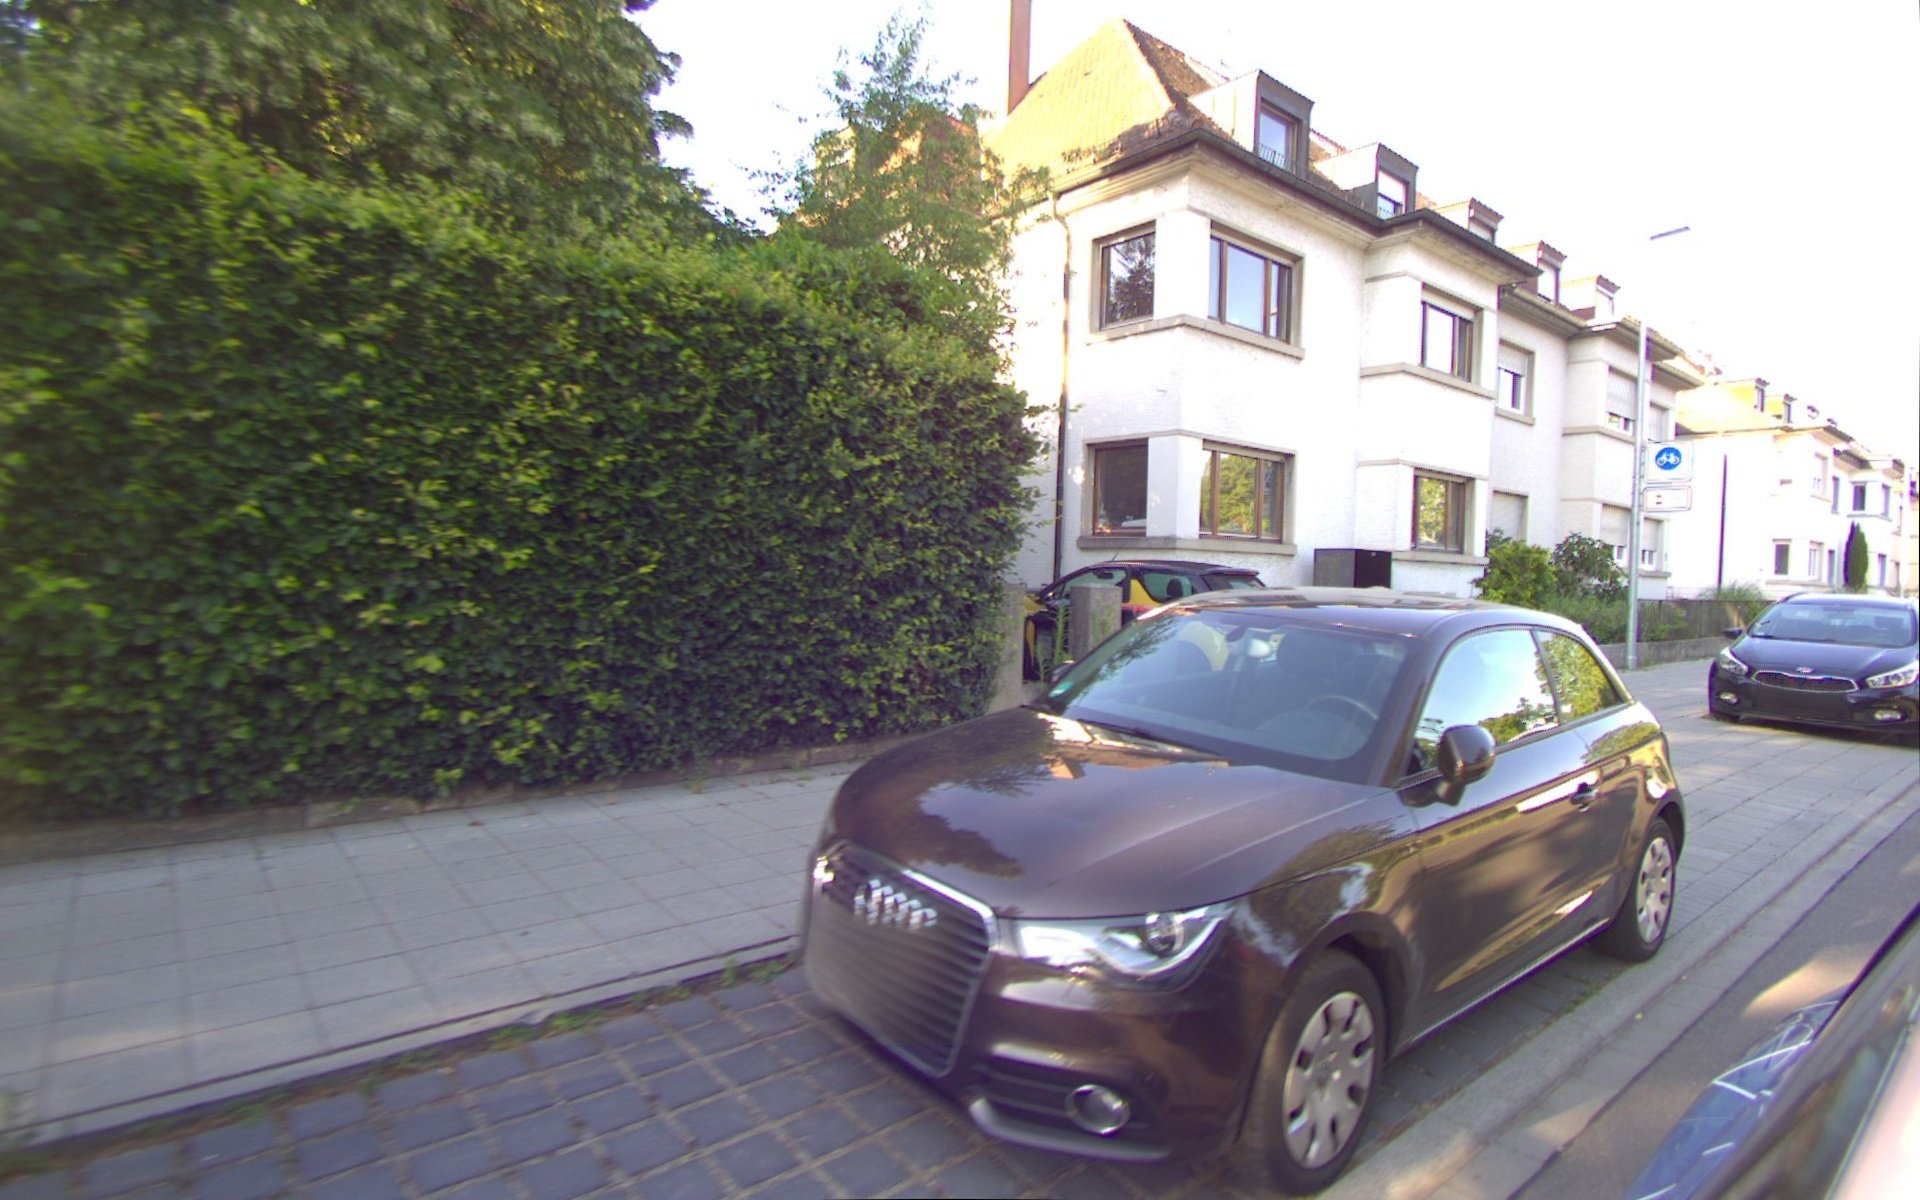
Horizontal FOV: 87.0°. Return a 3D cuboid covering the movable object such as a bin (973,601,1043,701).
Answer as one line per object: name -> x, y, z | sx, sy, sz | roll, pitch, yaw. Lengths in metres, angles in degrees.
movable object such as a bin -> 0.484, 0.494, 10.194 | 0.508, 0.955, 0.482 | 2, 1, 45

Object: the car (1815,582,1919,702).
car -> 13.835, 0.554, 14.512 | 3.914, 1.489, 1.723 | 0, 5, -41

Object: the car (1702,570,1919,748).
car -> 9.847, 0.517, 11.115 | 4.181, 1.492, 1.751 | 0, 6, -41

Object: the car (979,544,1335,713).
car -> 2.129, 0.191, 11.613 | 1.751, 1.514, 3.640 | 0, 4, -43

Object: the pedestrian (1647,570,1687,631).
pedestrian -> 24.224, -0.007, 34.673 | 1.081, 2.039, 0.855 | 2, 1, 35

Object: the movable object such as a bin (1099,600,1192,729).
movable object such as a bin -> 1.630, 0.542, 8.880 | 0.508, 1.056, 0.648 | 2, 1, 45

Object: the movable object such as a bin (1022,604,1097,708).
movable object such as a bin -> 0.967, 0.526, 9.842 | 0.508, 0.955, 0.494 | 2, 1, 45

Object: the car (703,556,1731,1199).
car -> 1.236, 0.639, 3.688 | 3.867, 1.445, 1.645 | 0, 4, -40
